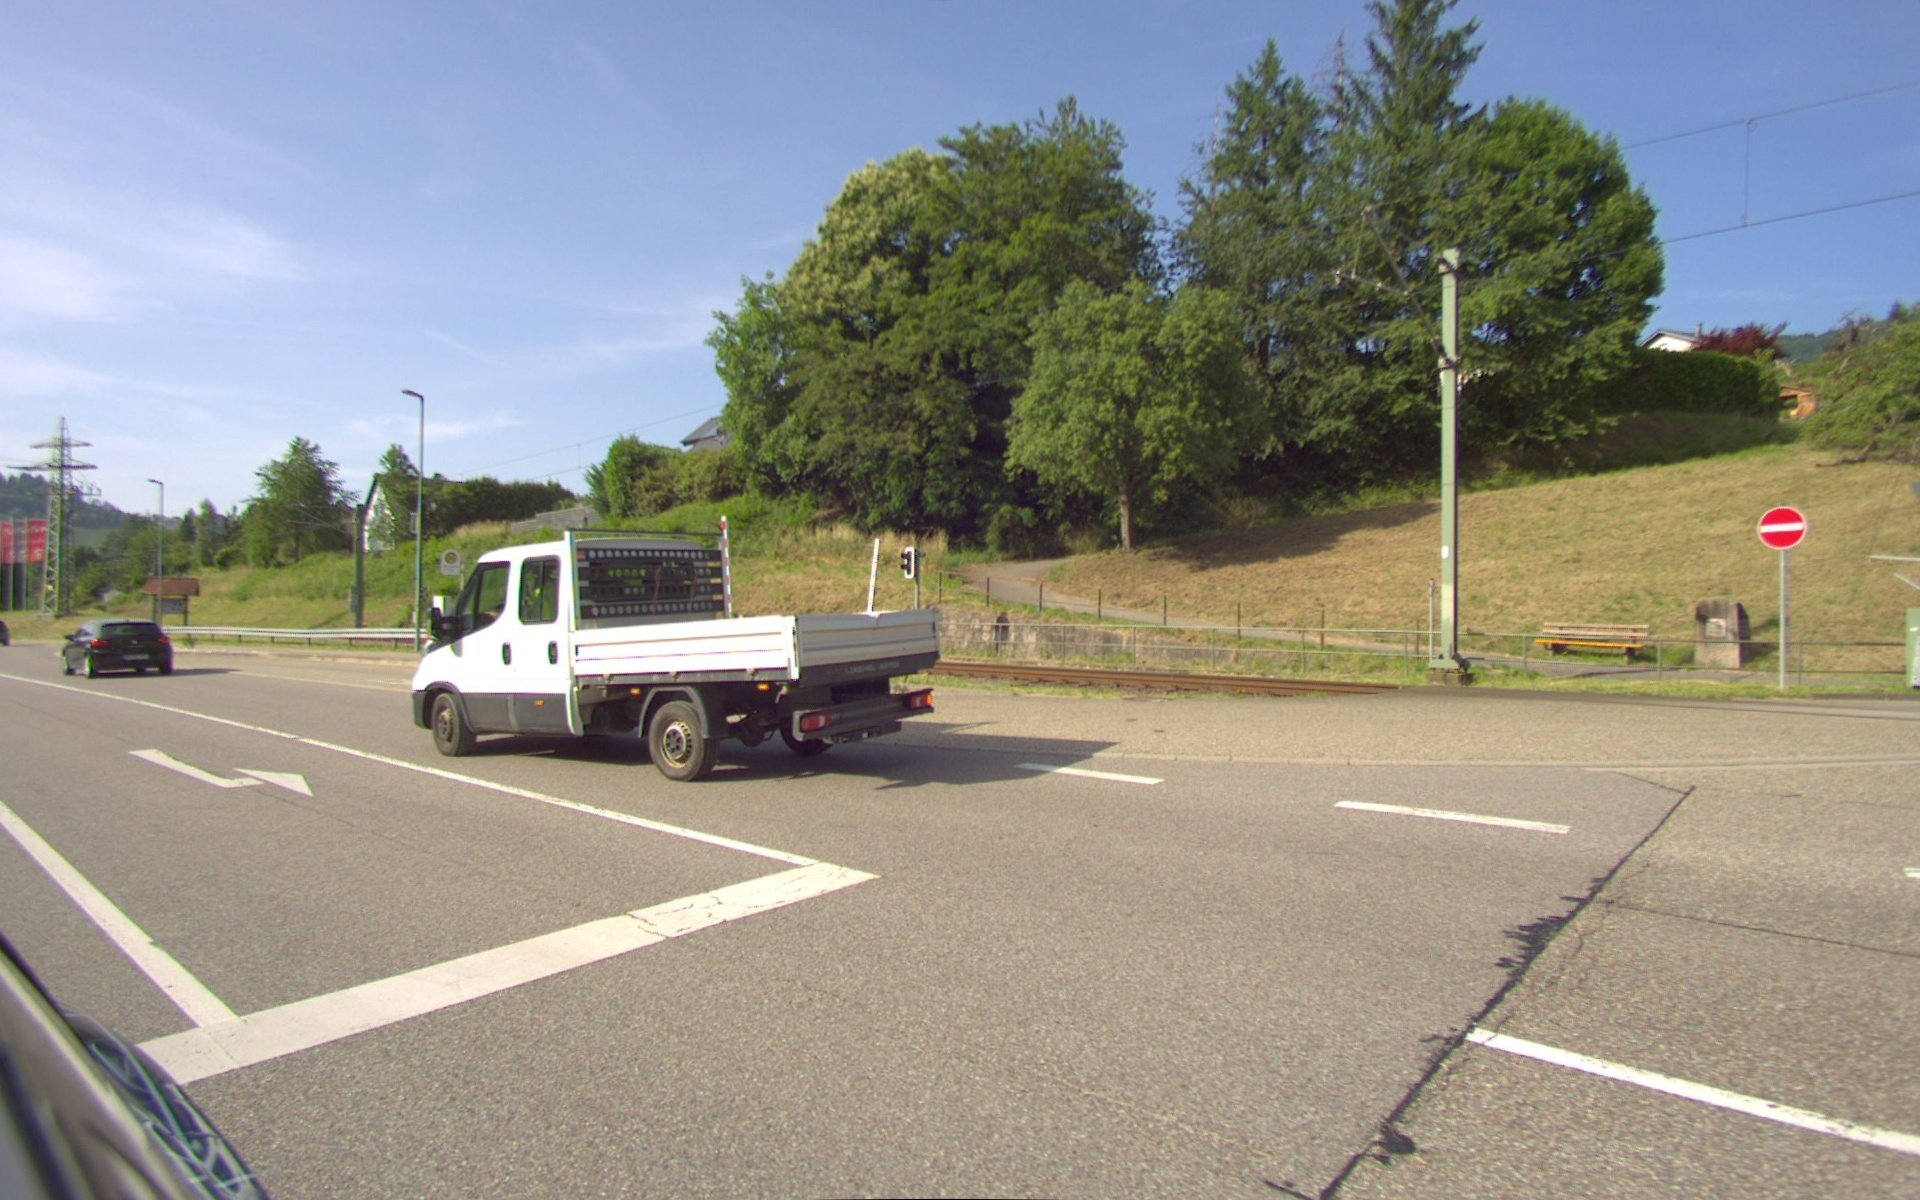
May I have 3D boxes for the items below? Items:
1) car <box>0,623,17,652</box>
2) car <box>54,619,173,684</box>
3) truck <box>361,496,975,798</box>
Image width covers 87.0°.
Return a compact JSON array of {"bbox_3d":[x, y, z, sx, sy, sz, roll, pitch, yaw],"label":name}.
[{"bbox_3d":[-53.682,2.059,55.693,3.993,1.541,1.975,-1,1,37],"label":"car"},{"bbox_3d":[-21.794,1.267,26.009,3.997,1.497,1.669,-1,0,40],"label":"car"},{"bbox_3d":[-3.158,0.418,10.319,6.258,2.283,2.429,-2,-1,31],"label":"truck"}]
